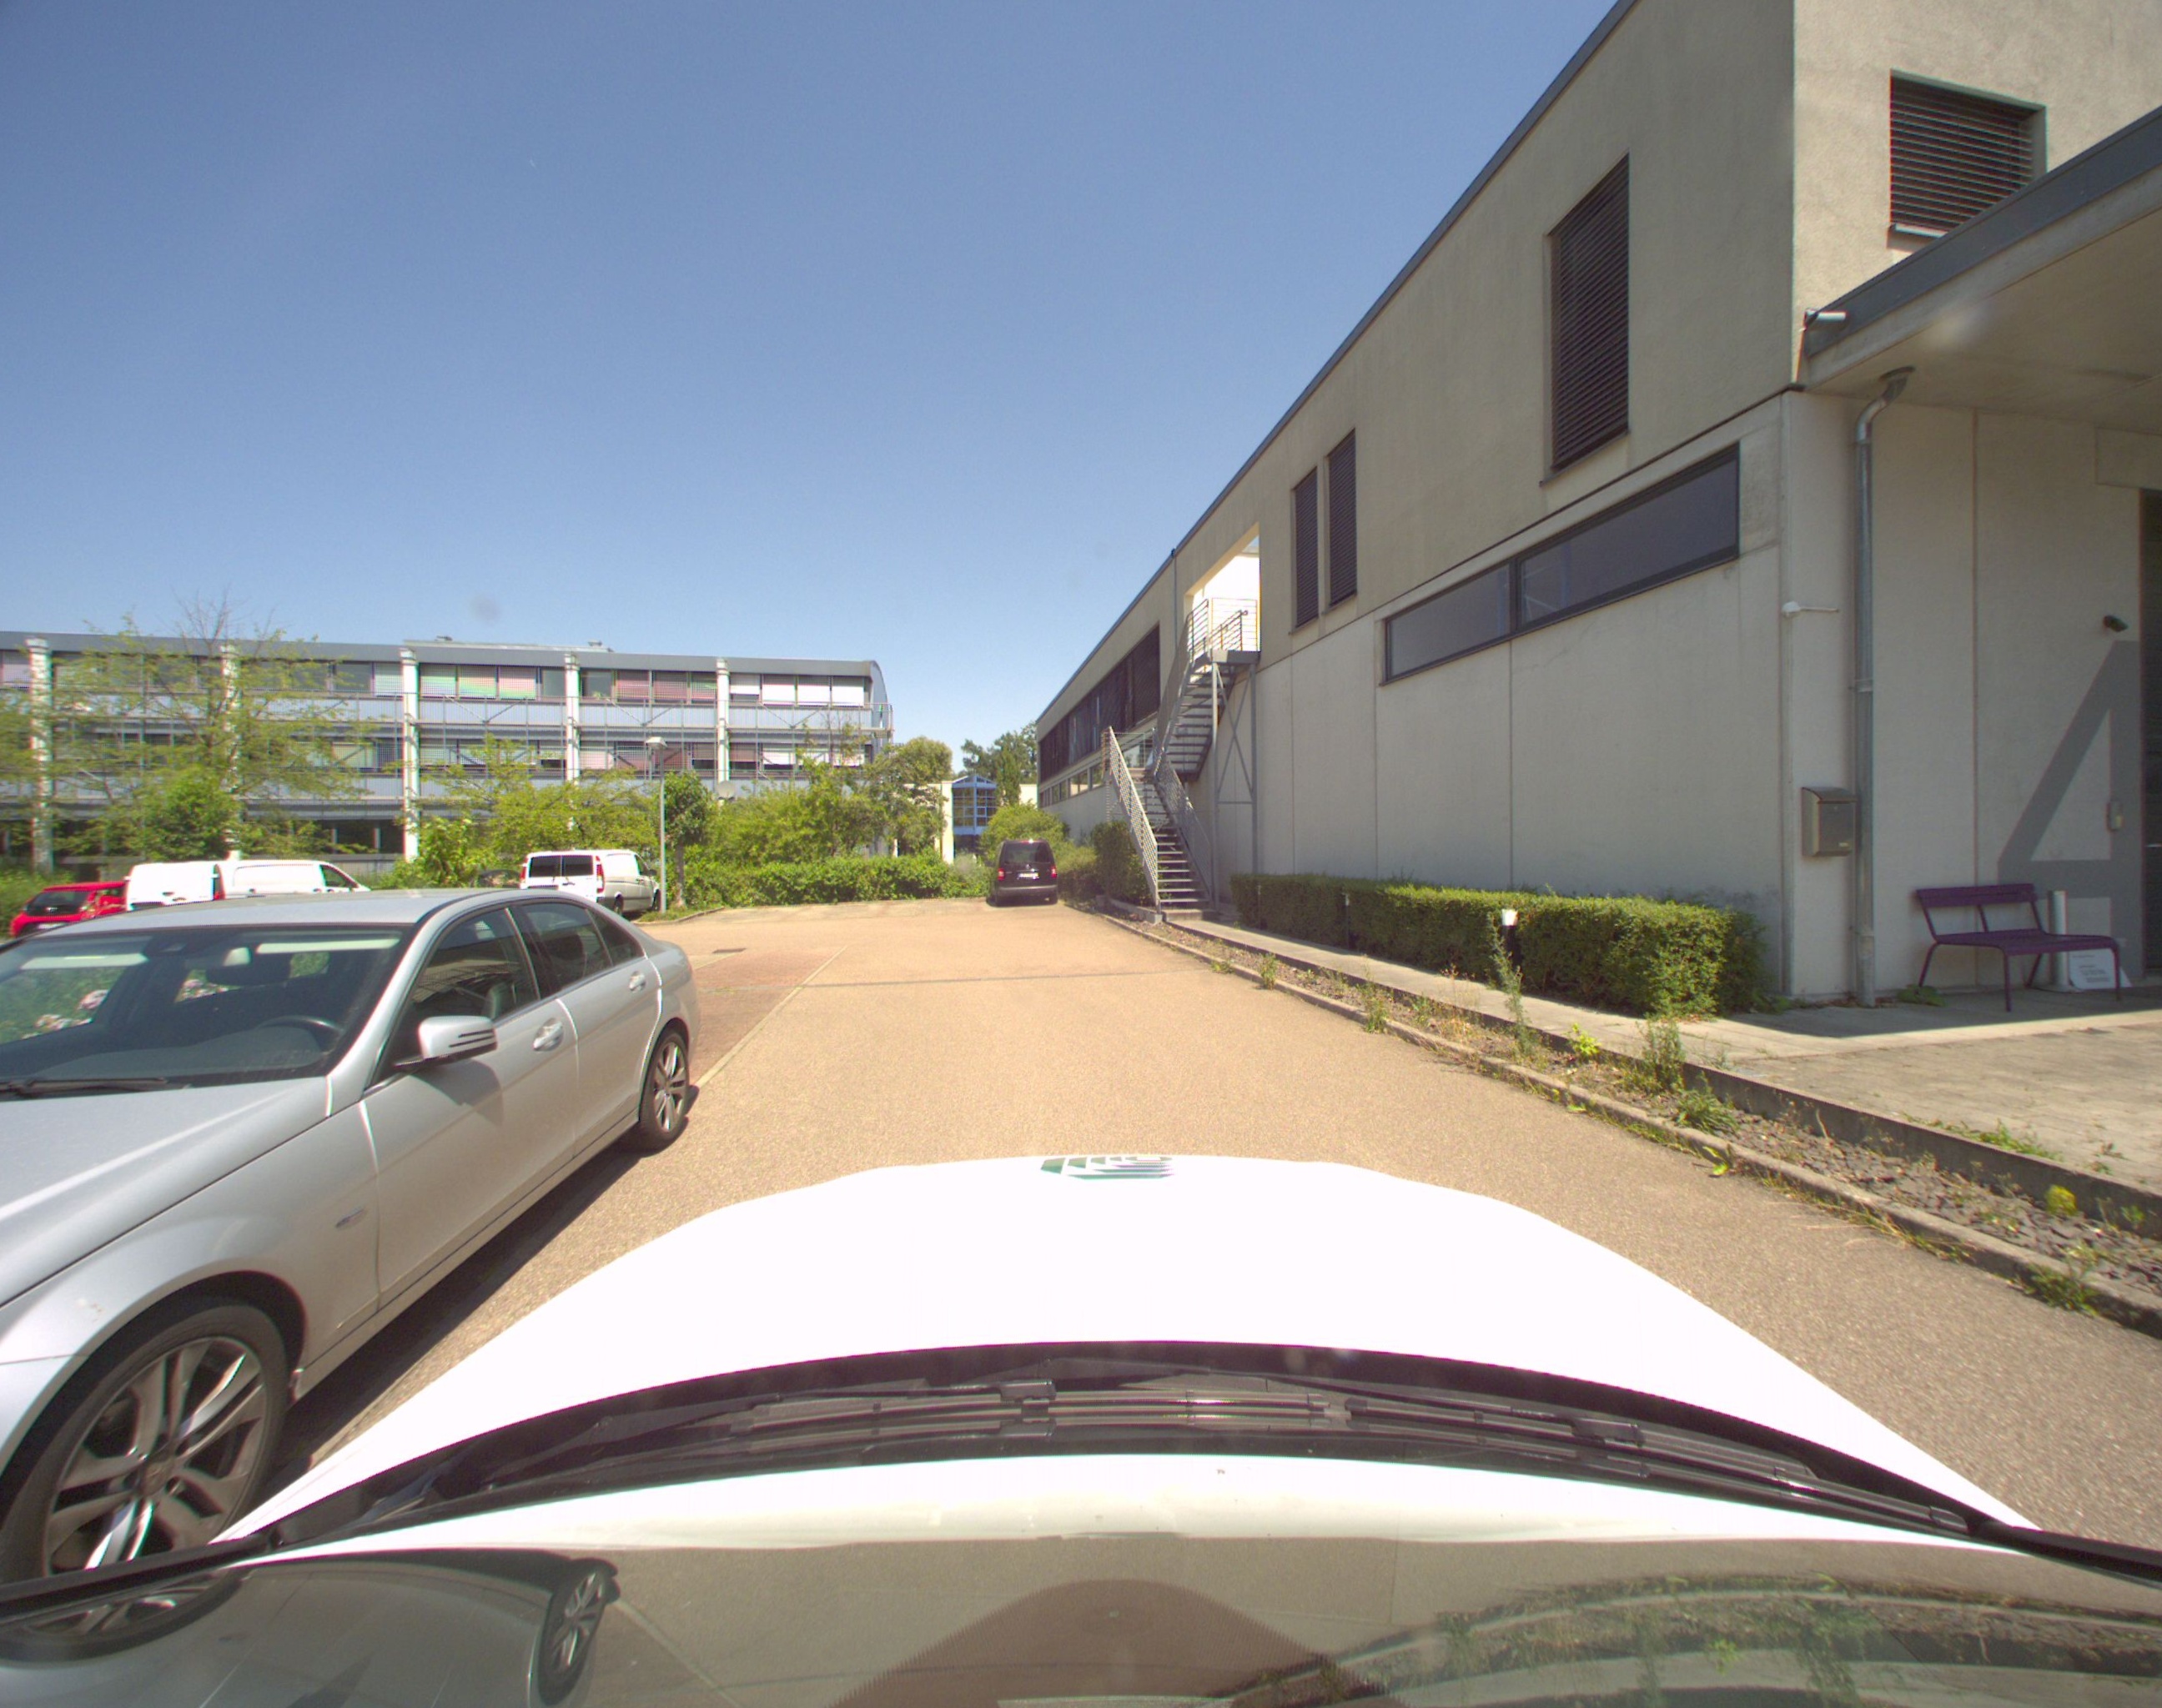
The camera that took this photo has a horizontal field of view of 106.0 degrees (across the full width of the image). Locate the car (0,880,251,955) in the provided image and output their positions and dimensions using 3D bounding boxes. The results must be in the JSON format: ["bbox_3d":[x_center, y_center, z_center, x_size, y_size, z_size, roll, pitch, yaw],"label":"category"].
[{"bbox_3d":[-23.103,1.450,19.949,1.781,1.441,3.989,-2,0,-8],"label":"car"}]

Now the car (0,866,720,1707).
[{"bbox_3d":[-2.871,0.827,2.929,1.728,1.457,4.136,-2,0,-8],"label":"car"}]

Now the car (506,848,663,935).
[{"bbox_3d":[-12.655,0.833,21.178,1.914,1.905,4.788,-2,1,-12],"label":"car"}]

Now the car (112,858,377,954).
[{"bbox_3d":[-19.703,1.101,19.578,1.881,1.891,4.788,-2,1,-9],"label":"car"}]

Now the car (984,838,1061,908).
[{"bbox_3d":[-1.817,0.492,23.996,1.744,1.837,3.985,-2,1,-11],"label":"car"}]

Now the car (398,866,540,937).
[{"bbox_3d":[-15.535,1.119,20.915,1.760,1.476,3.973,-2,1,-20],"label":"car"}]
